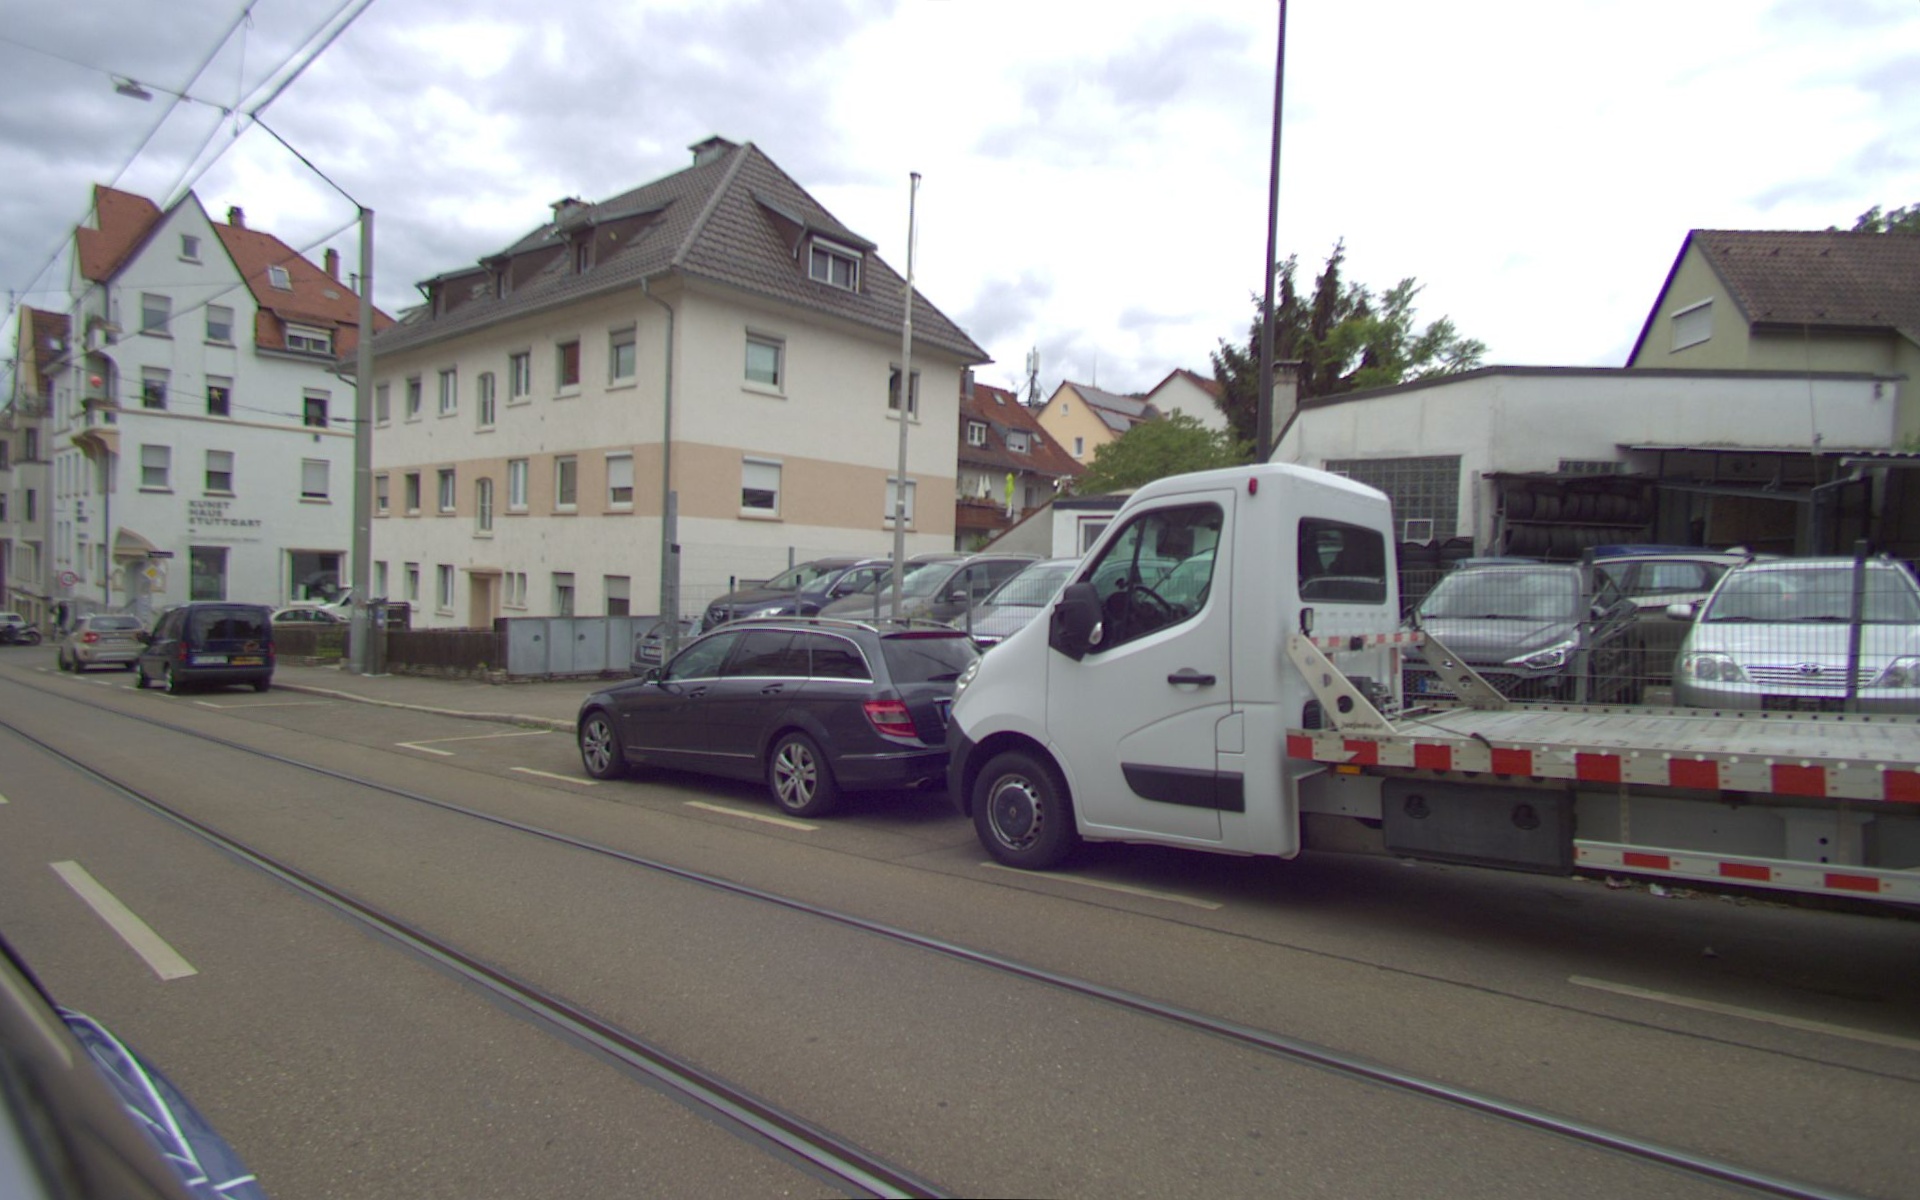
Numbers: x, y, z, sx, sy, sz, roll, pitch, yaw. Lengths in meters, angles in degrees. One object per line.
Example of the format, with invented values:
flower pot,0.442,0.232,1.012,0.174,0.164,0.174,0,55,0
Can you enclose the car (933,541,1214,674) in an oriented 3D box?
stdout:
car,1.615,0.080,13.168,1.687,1.456,4.019,-1,0,40

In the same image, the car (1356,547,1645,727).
car,5.309,0.275,9.699,1.687,1.367,3.837,-1,0,40

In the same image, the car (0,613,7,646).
car,-45.026,1.343,46.351,3.022,1.480,1.679,-1,-3,41

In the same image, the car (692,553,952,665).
car,-2.081,0.073,16.215,1.687,1.564,4.020,-1,1,40

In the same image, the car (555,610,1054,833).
car,-1.515,0.847,8.673,4.477,1.444,1.680,-1,-2,39

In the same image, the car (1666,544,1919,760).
car,6.950,0.320,8.196,1.687,1.367,3.837,-1,0,40

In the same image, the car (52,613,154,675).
car,-23.738,1.174,28.000,3.849,1.568,1.679,-1,0,42

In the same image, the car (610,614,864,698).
car,-3.953,1.065,18.555,1.859,1.356,4.294,-1,-5,40

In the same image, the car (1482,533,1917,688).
car,8.636,0.125,12.134,3.969,1.563,1.666,-1,0,40

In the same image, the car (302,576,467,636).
car,-26.111,0.224,46.115,2.191,2.551,6.126,-1,1,42

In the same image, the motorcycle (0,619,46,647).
motorcycle,-38.659,1.334,41.166,2.080,1.143,0.768,1,-2,-36

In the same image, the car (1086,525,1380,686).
car,3.251,0.043,11.522,1.687,1.505,4.019,-1,0,40

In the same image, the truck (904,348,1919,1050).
truck,3.395,0.309,4.348,8.022,2.204,2.256,-1,0,42

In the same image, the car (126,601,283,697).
car,-15.511,0.947,20.688,4.518,1.749,1.725,-1,-2,42

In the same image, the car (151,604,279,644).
car,-30.404,0.933,41.386,1.754,1.475,3.945,-1,1,42

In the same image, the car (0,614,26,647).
car,-41.031,1.286,42.872,4.290,1.367,1.761,-1,-1,42

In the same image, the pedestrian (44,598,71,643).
pedestrian,-39.237,0.891,43.998,0.810,1.919,0.583,-1,5,40

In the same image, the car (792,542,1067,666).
car,-0.313,0.044,14.635,1.738,1.535,4.019,-1,0,40

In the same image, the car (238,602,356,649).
car,-25.541,0.954,39.026,1.777,1.503,3.478,6,5,41
